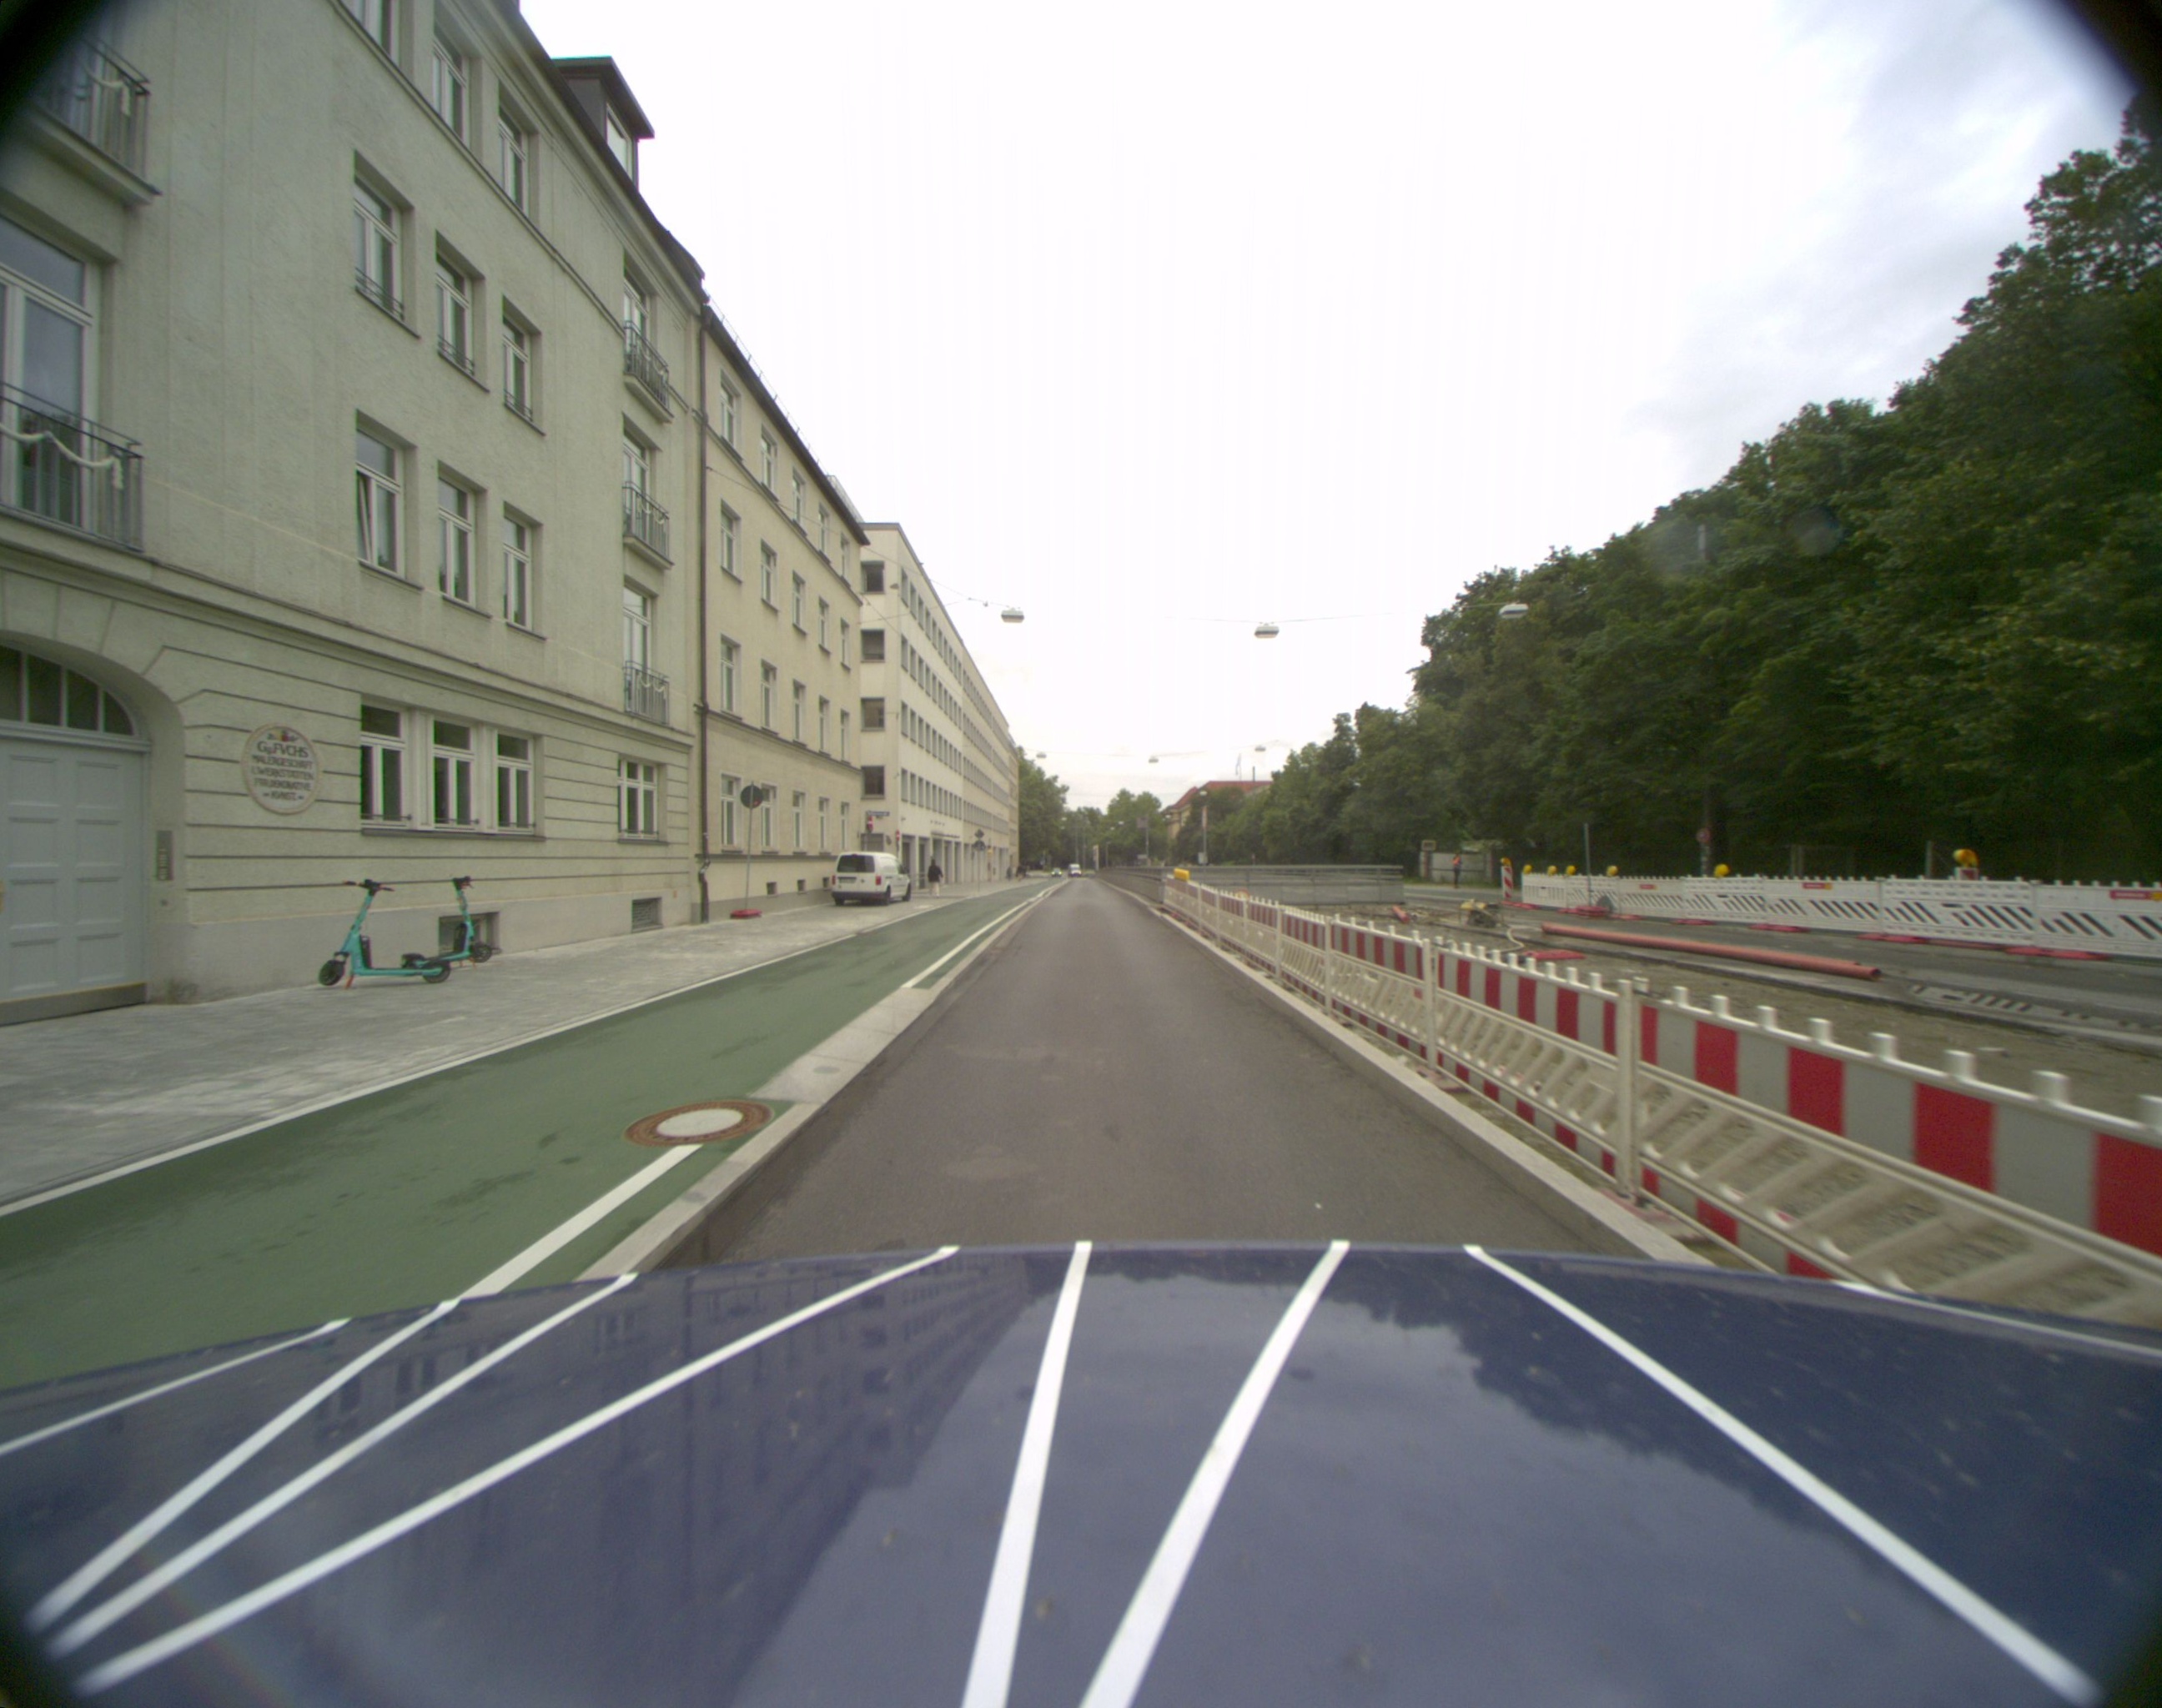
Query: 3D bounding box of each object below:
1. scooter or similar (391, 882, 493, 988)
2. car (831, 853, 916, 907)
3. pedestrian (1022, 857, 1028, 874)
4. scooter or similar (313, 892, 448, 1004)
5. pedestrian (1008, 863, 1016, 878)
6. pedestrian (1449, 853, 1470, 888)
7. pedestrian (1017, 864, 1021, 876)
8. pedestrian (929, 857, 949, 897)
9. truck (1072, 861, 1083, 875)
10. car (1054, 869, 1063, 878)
[{"bbox_3d":[-8.363,1.029,9.988,0.387,1.265,1.119,1,1,0],"label":"scooter or similar"},{"bbox_3d":[-7.156,0.855,26.663,1.738,1.739,4.435,0,0,0],"label":"car"},{"bbox_3d":[-6.014,1.274,82.002,0.514,1.825,0.602,3,0,0],"label":"pedestrian"},{"bbox_3d":[-8.088,1.061,8.812,1.122,1.224,0.246,1,1,-33],"label":"scooter or similar"},{"bbox_3d":[-7.625,1.862,83.883,0.754,1.610,0.704,3,0,0],"label":"pedestrian"},{"bbox_3d":[18.316,0.799,36.751,0.665,1.631,0.698,-1,0,1],"label":"pedestrian"},{"bbox_3d":[-6.693,1.766,82.343,0.368,1.239,0.470,3,0,0],"label":"pedestrian"},{"bbox_3d":[-5.861,0.929,31.446,0.666,1.626,0.737,1,0,0],"label":"pedestrian"},{"bbox_3d":[-0.687,2.752,147.838,2.058,2.625,4.412,-1,0,-1],"label":"truck"},{"bbox_3d":[-4.744,4.031,160.161,1.999,1.738,4.000,-1,0,-1],"label":"car"}]
